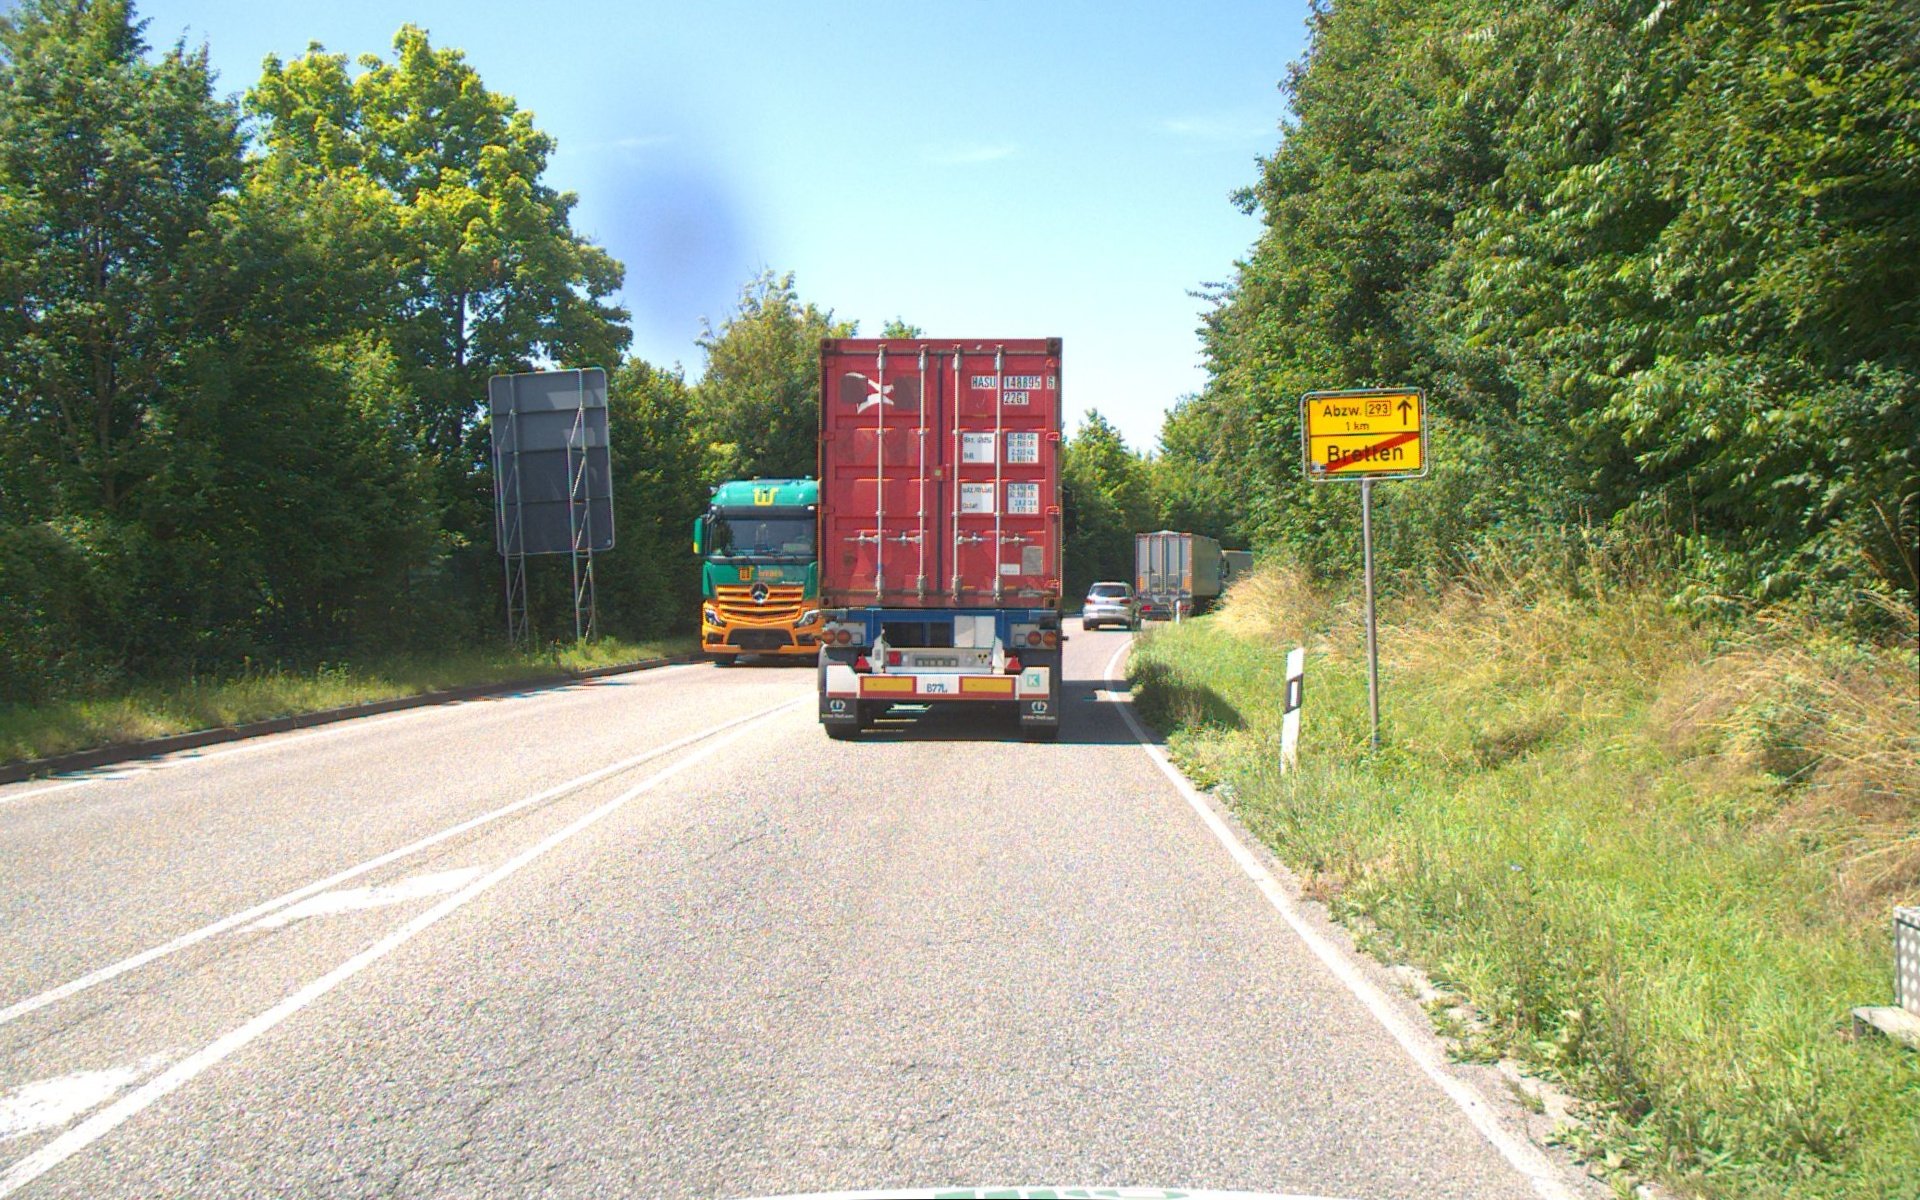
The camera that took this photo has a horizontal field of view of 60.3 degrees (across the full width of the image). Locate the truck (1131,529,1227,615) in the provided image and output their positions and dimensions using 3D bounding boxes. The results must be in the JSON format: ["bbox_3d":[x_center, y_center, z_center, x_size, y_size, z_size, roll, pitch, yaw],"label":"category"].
[{"bbox_3d":[10.793,-1.311,80.253,2.860,3.781,13.369,1,1,15],"label":"truck"}]

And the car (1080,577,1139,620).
[{"bbox_3d":[5.353,-0.072,58.777,1.793,1.458,4.004,-1,1,9],"label":"car"}]

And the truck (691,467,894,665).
[{"bbox_3d":[-3.350,-0.685,35.355,2.524,3.744,7.882,0,0,8],"label":"truck"}]

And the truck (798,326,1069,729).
[{"bbox_3d":[0.181,-0.720,22.639,2.592,3.873,13.366,0,0,4],"label":"truck"}]

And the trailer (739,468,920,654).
[{"bbox_3d":[-2.859,-0.856,39.155,2.522,3.886,8.922,0,1,7],"label":"trailer"}]
